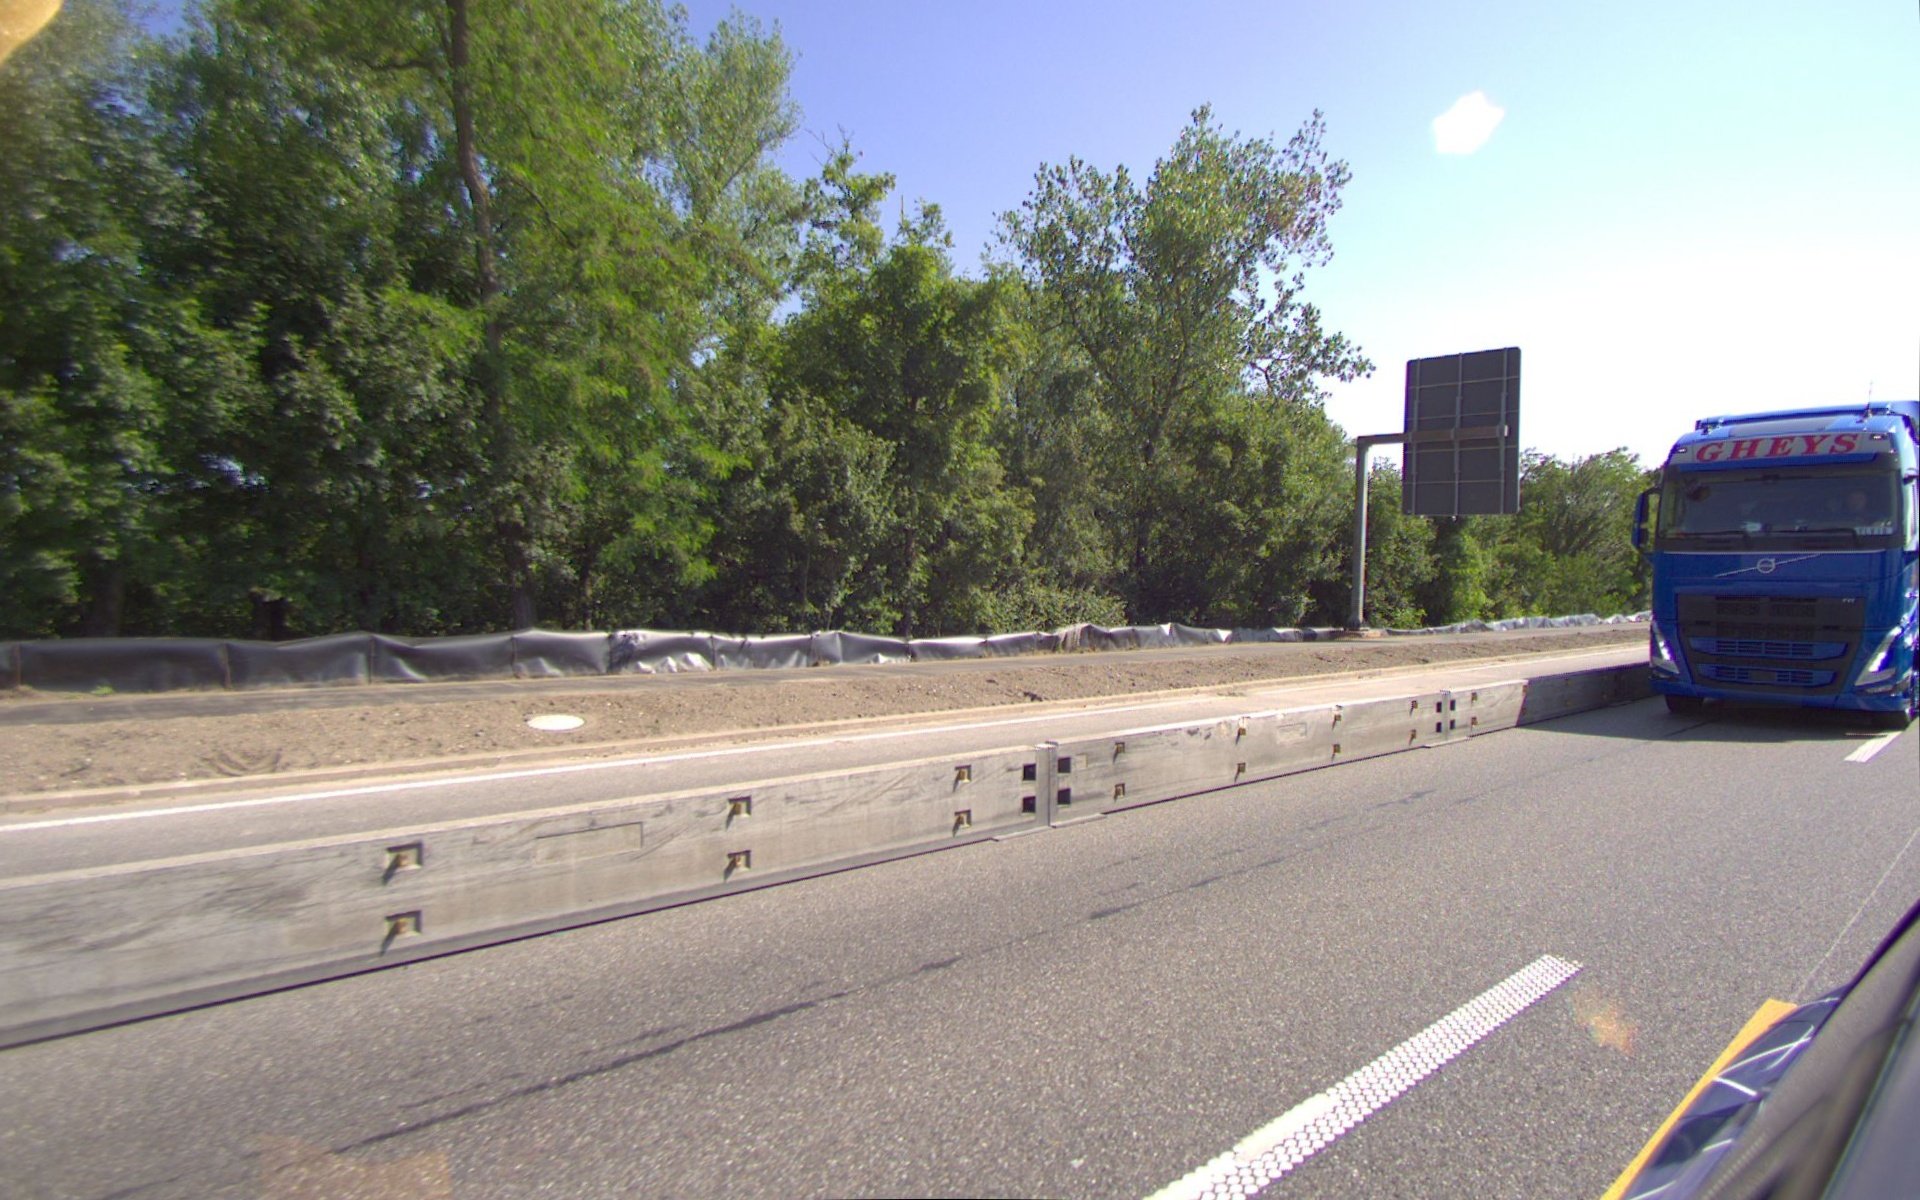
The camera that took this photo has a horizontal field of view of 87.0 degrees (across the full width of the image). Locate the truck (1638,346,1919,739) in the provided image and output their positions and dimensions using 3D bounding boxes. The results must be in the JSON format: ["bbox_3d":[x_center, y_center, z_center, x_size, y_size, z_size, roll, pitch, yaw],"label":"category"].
[{"bbox_3d":[12.066,-0.660,13.952,7.175,4.152,2.699,1,3,-42],"label":"truck"}]

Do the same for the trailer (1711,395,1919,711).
[{"bbox_3d":[16.689,-0.651,18.257,12.401,4.187,2.698,0,3,-43],"label":"trailer"}]

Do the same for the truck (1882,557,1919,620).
[{"bbox_3d":[65.687,-0.728,69.503,8.523,4.033,2.857,0,3,-45],"label":"truck"}]
